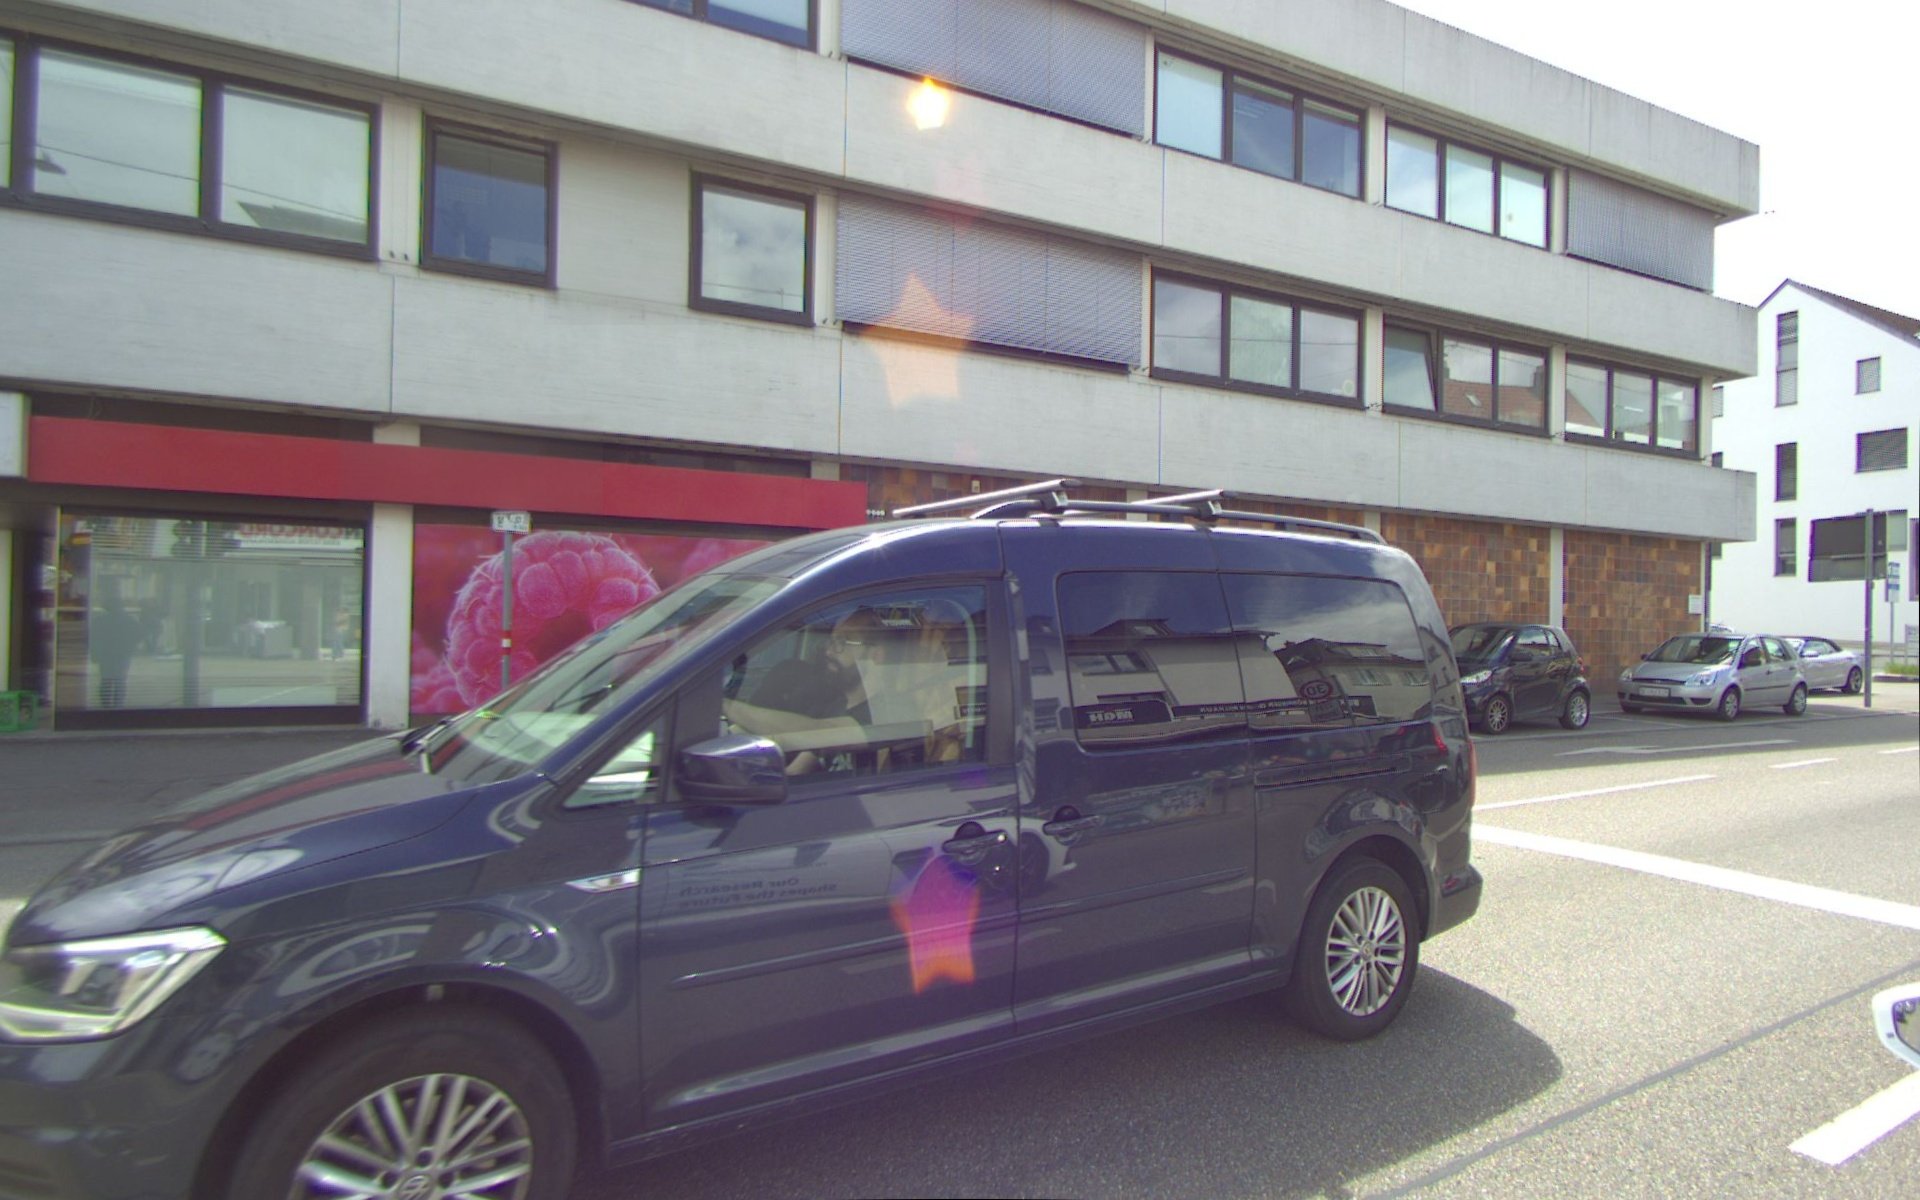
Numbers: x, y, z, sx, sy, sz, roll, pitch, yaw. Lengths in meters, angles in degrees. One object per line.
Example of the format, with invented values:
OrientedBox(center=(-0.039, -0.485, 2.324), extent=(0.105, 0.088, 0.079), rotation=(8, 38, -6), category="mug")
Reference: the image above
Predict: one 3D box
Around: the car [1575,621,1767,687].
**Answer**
OrientedBox(center=(19.056, 1.437, 26.919), extent=(4.860, 1.640, 1.947), rotation=(1, -4, -24), category="car")

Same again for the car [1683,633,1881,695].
OrientedBox(center=(20.059, 1.502, 24.482), extent=(4.791, 1.376, 1.945), rotation=(1, -1, -26), category="car")

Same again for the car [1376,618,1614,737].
OrientedBox(center=(7.985, 1.080, 15.015), extent=(3.017, 1.576, 1.730), rotation=(1, 0, -27), category="car")

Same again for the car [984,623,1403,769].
OrientedBox(center=(2.927, 1.052, 12.393), extent=(4.888, 1.463, 2.037), rotation=(1, 0, -27), category="car")

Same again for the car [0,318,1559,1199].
OrientedBox(center=(-0.134, 0.564, 3.622), extent=(4.822, 1.901, 1.939), rotation=(1, -2, -32), category="car")

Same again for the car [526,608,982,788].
OrientedBox(center=(-2.103, 0.871, 10.391), extent=(4.232, 1.495, 2.036), rotation=(1, 0, -29), category="car")

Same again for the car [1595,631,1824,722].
OrientedBox(center=(13.476, 1.300, 18.025), extent=(4.095, 1.441, 1.715), rotation=(1, 0, -28), category="car")
